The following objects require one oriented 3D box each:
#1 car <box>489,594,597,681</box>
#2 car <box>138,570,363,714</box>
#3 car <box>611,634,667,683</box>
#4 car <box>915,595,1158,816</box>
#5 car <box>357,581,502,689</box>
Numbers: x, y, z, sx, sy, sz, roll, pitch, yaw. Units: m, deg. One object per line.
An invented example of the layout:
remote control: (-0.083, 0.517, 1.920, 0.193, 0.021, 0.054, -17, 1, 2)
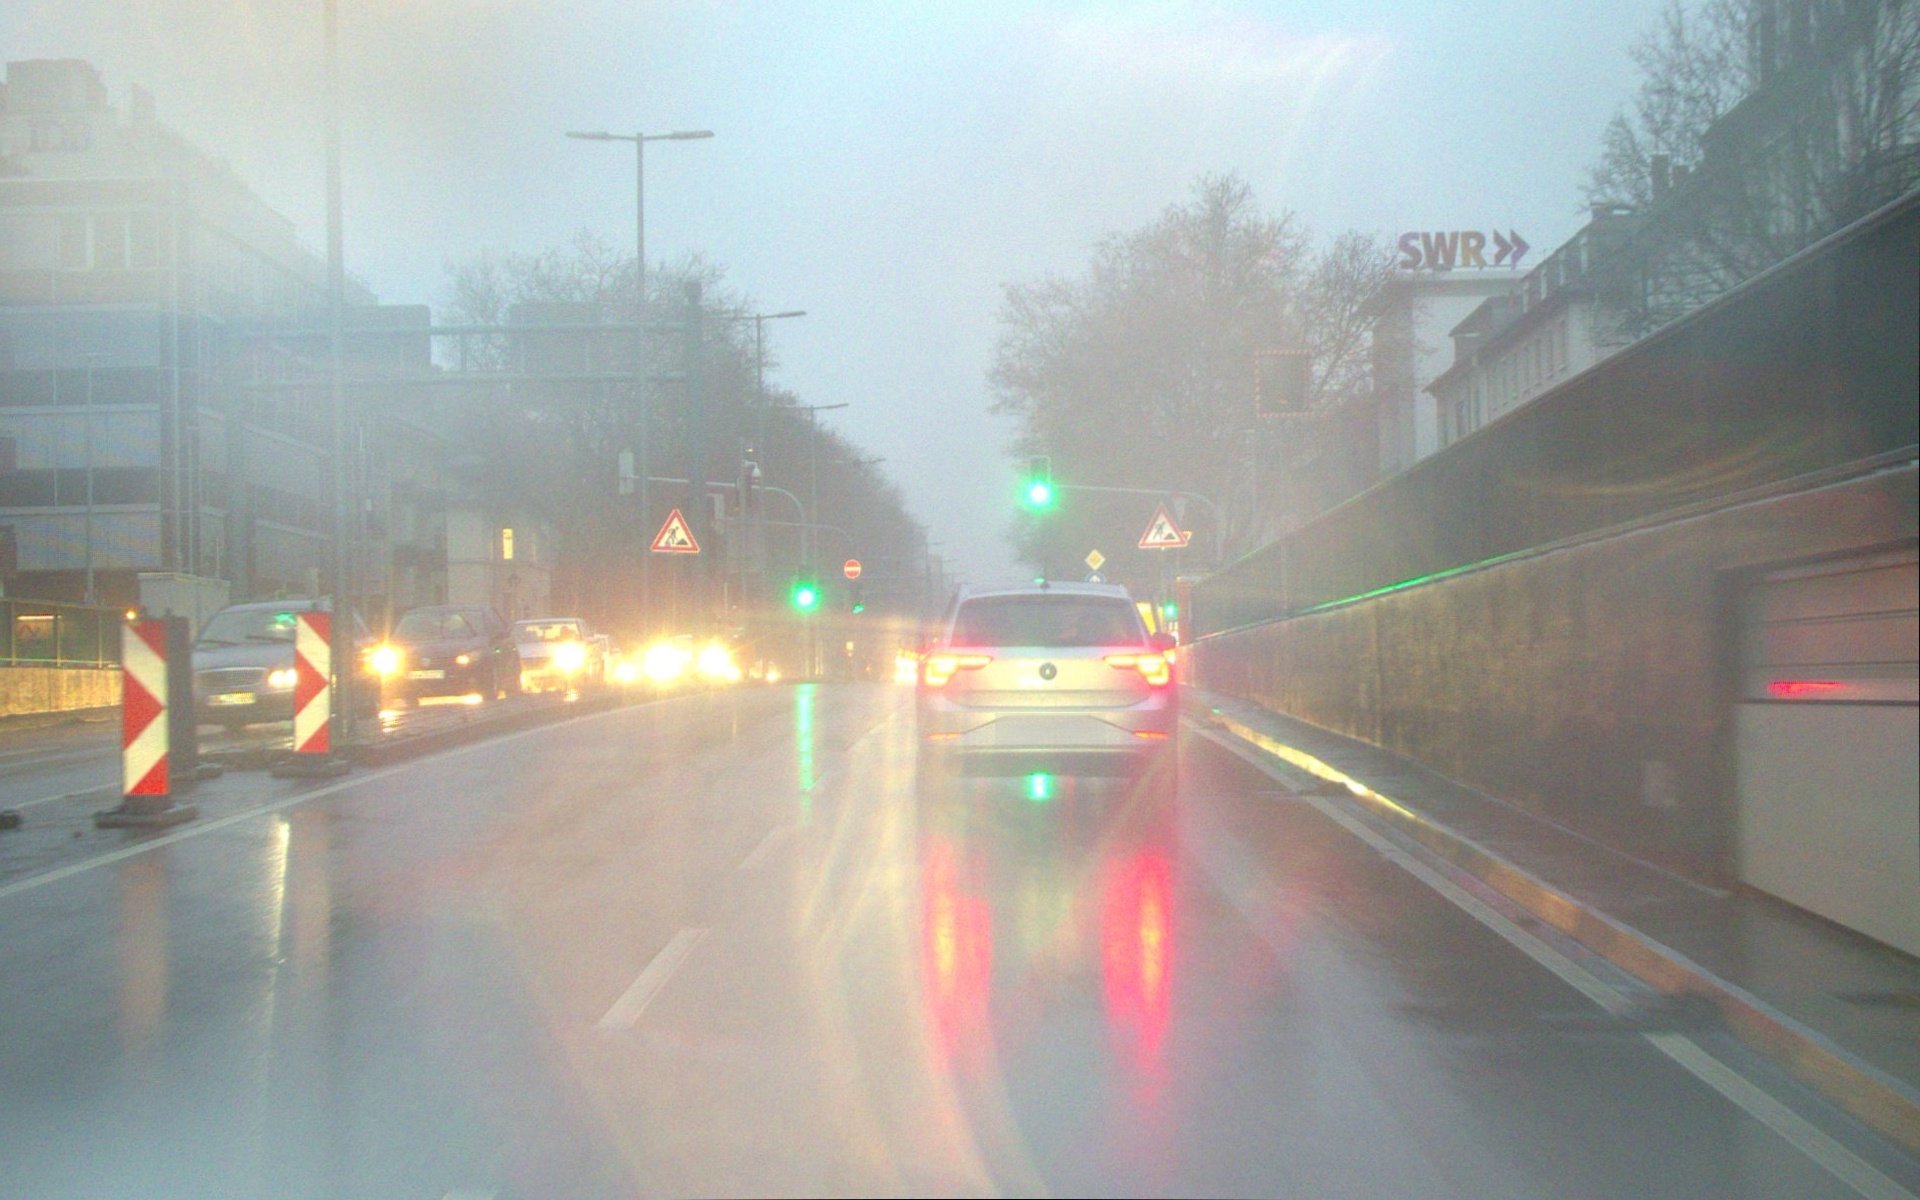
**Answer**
car: (-7.447, 0.647, 61.600, 1.496, 1.378, 3.434, -2, 1, -1)
car: (-7.674, 0.420, 37.473, 1.608, 1.378, 3.695, -2, 1, 0)
car: (-10.393, 1.886, 111.509, 1.496, 1.378, 3.434, -2, 1, -1)
car: (0.504, 0.694, 23.525, 1.532, 1.392, 3.433, 0, -1, 1)
car: (-7.654, 0.482, 49.861, 1.496, 1.378, 3.434, -2, 1, 0)
